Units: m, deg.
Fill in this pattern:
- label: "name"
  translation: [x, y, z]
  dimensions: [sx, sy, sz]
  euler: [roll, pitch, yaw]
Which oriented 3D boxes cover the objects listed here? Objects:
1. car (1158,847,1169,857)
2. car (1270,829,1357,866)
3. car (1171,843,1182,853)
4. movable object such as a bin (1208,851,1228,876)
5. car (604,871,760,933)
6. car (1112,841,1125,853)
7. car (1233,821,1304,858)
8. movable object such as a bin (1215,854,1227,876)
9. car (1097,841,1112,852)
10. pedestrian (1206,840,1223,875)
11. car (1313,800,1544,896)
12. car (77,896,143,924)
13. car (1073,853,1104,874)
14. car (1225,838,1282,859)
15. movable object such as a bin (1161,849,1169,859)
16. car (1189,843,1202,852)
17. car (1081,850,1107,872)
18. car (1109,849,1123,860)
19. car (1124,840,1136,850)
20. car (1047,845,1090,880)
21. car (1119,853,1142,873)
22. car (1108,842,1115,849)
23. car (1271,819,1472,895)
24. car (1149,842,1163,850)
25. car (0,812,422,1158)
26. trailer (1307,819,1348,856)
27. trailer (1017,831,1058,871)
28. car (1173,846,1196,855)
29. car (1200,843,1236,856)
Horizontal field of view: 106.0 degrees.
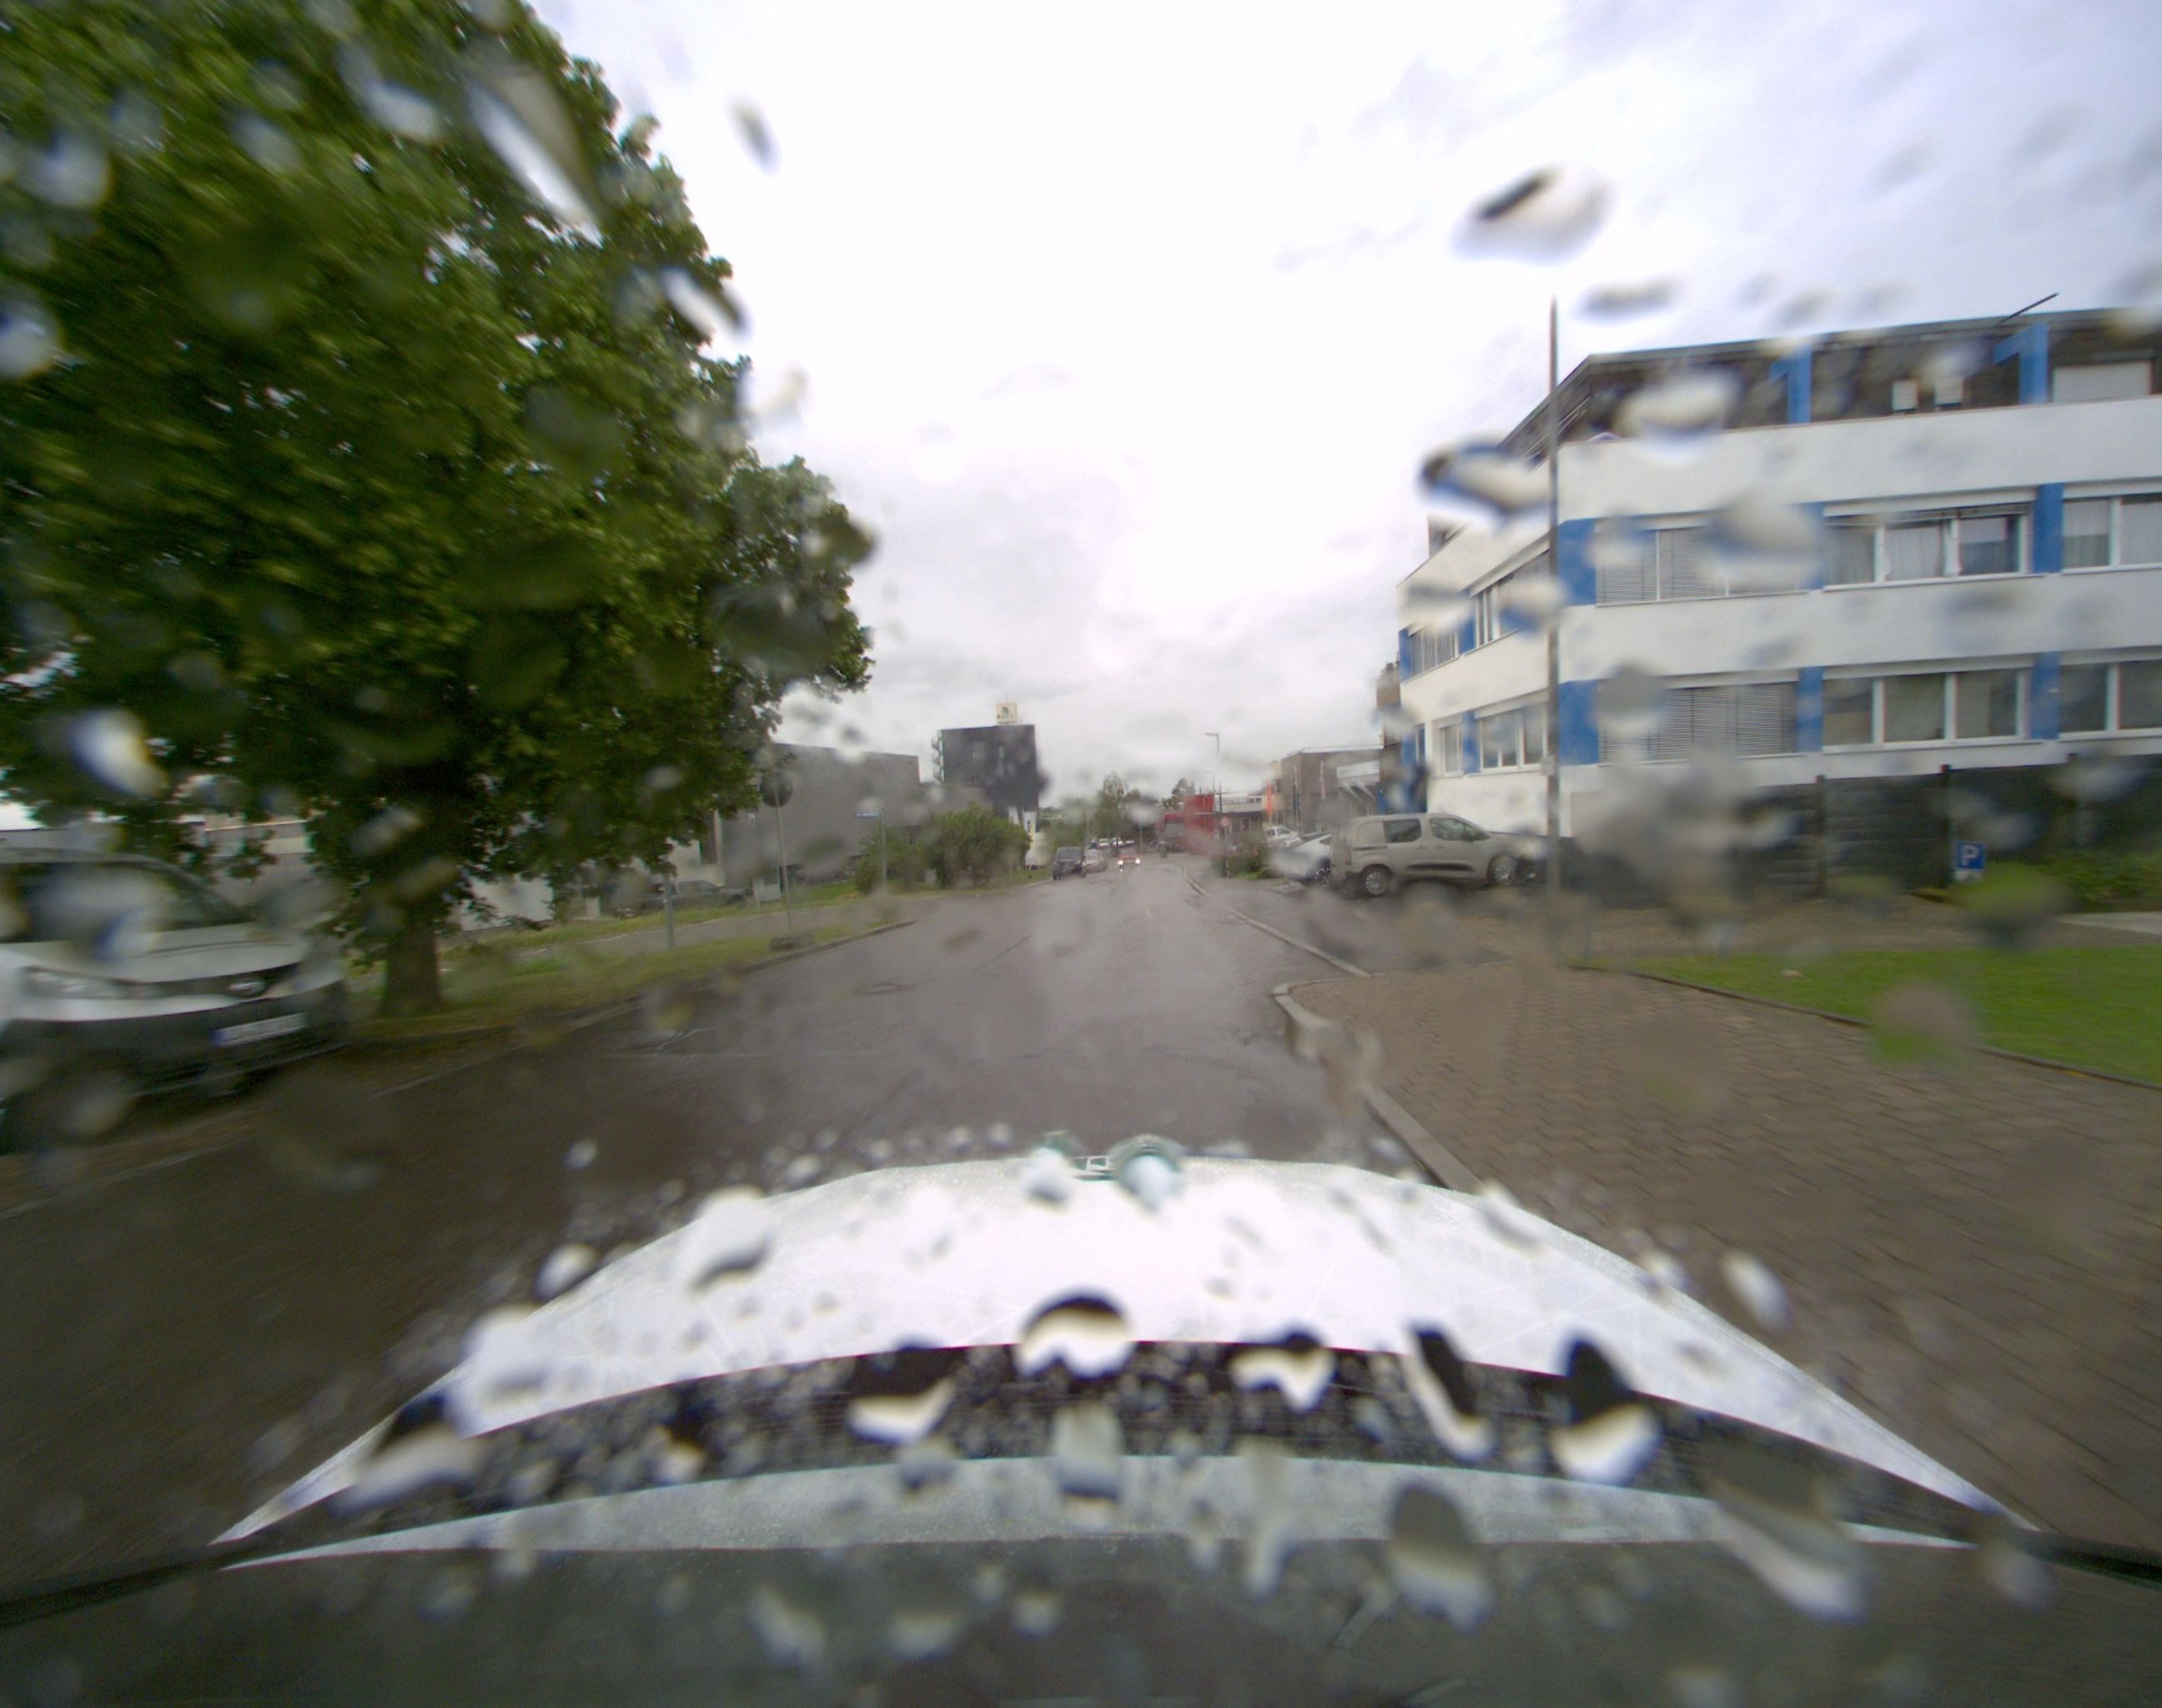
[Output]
- label: "car"
  translation: [14.076, -0.329, 139.476]
  dimensions: [1.689, 1.475, 4.004]
  euler: [-4, -1, 4]
- label: "car"
  translation: [12.519, -0.325, 44.054]
  dimensions: [4.103, 1.574, 2.005]
  euler: [-6, -1, 3]
- label: "car"
  translation: [16.405, -1.021, 140.043]
  dimensions: [1.731, 1.653, 4.004]
  euler: [-4, -1, 4]
- label: "movable object such as a bin"
  translation: [5.984, 0.426, 35.715]
  dimensions: [0.768, 1.030, 0.809]
  euler: [-3, 0, 6]
- label: "car"
  translation: [-16.768, 1.952, 34.599]
  dimensions: [2.108, 1.921, 5.646]
  euler: [-2, 3, 28]
- label: "car"
  translation: [8.123, -1.500, 174.902]
  dimensions: [2.189, 2.459, 3.994]
  euler: [-3, -1, -4]
- label: "car"
  translation: [15.663, -1.189, 68.211]
  dimensions: [5.276, 2.013, 2.224]
  euler: [-11, -1, 4]
- label: "movable object such as a bin"
  translation: [6.405, 0.485, 37.294]
  dimensions: [0.470, 0.967, 0.515]
  euler: [-3, 0, 6]
- label: "car"
  translation: [5.088, -1.609, 174.651]
  dimensions: [2.266, 2.013, 3.984]
  euler: [-3, -1, -11]
- label: "pedestrian"
  translation: [7.017, 0.194, 42.821]
  dimensions: [0.733, 1.767, 0.810]
  euler: [-3, -1, 6]
- label: "car"
  translation: [7.787, -0.134, 18.627]
  dimensions: [4.323, 1.773, 2.090]
  euler: [-4, 0, 2]
- label: "car"
  translation: [-62.240, 3.600, 52.172]
  dimensions: [3.948, 1.618, 2.013]
  euler: [-3, 0, 30]
- label: "car"
  translation: [0.604, 0.704, 62.587]
  dimensions: [1.947, 1.461, 5.254]
  euler: [-4, 0, 4]
- label: "car"
  translation: [16.385, -0.555, 77.519]
  dimensions: [5.070, 1.613, 1.927]
  euler: [-4, 1, 3]
- label: "movable object such as a bin"
  translation: [10.246, -0.021, 99.188]
  dimensions: [0.804, 1.092, 0.709]
  euler: [-4, 0, -1]
- label: "car"
  translation: [19.506, -1.051, 138.866]
  dimensions: [1.721, 1.422, 4.004]
  euler: [-4, -1, 4]
- label: "car"
  translation: [1.146, 0.587, 68.951]
  dimensions: [1.949, 1.577, 4.843]
  euler: [-4, -1, 3]
- label: "car"
  translation: [5.495, 0.114, 128.676]
  dimensions: [1.949, 1.675, 4.472]
  euler: [-4, -1, 1]
- label: "car"
  translation: [10.590, -1.943, 175.752]
  dimensions: [2.140, 2.013, 3.936]
  euler: [-4, -1, -2]
- label: "car"
  translation: [-0.680, 0.475, 47.980]
  dimensions: [1.906, 1.831, 4.855]
  euler: [-3, 0, 5]
- label: "car"
  translation: [4.318, 0.772, 71.118]
  dimensions: [1.739, 1.508, 3.941]
  euler: [-6, -1, 5]
- label: "car"
  translation: [6.662, -1.857, 180.607]
  dimensions: [1.287, 1.424, 2.544]
  euler: [-4, -1, -2]
- label: "car"
  translation: [7.617, 0.066, 21.733]
  dimensions: [4.577, 1.538, 2.081]
  euler: [-5, 0, 3]
- label: "car"
  translation: [14.911, -1.626, 161.635]
  dimensions: [2.540, 1.352, 1.242]
  euler: [-3, 0, -1]
- label: "car"
  translation: [-7.443, 0.854, 5.628]
  dimensions: [4.280, 1.906, 1.864]
  euler: [-4, -1, 4]
- label: "trailer"
  translation: [17.425, -1.153, 57.775]
  dimensions: [1.877, 2.416, 4.316]
  euler: [-4, 1, 6]
- label: "trailer"
  translation: [-4.904, -0.311, 91.243]
  dimensions: [4.133, 4.203, 2.019]
  euler: [-4, 0, 42]
- label: "car"
  translation: [15.452, -0.525, 121.542]
  dimensions: [3.383, 1.163, 1.795]
  euler: [-3, 0, 5]
- label: "car"
  translation: [15.906, -0.478, 94.516]
  dimensions: [3.878, 1.383, 1.822]
  euler: [-2, -1, 3]
